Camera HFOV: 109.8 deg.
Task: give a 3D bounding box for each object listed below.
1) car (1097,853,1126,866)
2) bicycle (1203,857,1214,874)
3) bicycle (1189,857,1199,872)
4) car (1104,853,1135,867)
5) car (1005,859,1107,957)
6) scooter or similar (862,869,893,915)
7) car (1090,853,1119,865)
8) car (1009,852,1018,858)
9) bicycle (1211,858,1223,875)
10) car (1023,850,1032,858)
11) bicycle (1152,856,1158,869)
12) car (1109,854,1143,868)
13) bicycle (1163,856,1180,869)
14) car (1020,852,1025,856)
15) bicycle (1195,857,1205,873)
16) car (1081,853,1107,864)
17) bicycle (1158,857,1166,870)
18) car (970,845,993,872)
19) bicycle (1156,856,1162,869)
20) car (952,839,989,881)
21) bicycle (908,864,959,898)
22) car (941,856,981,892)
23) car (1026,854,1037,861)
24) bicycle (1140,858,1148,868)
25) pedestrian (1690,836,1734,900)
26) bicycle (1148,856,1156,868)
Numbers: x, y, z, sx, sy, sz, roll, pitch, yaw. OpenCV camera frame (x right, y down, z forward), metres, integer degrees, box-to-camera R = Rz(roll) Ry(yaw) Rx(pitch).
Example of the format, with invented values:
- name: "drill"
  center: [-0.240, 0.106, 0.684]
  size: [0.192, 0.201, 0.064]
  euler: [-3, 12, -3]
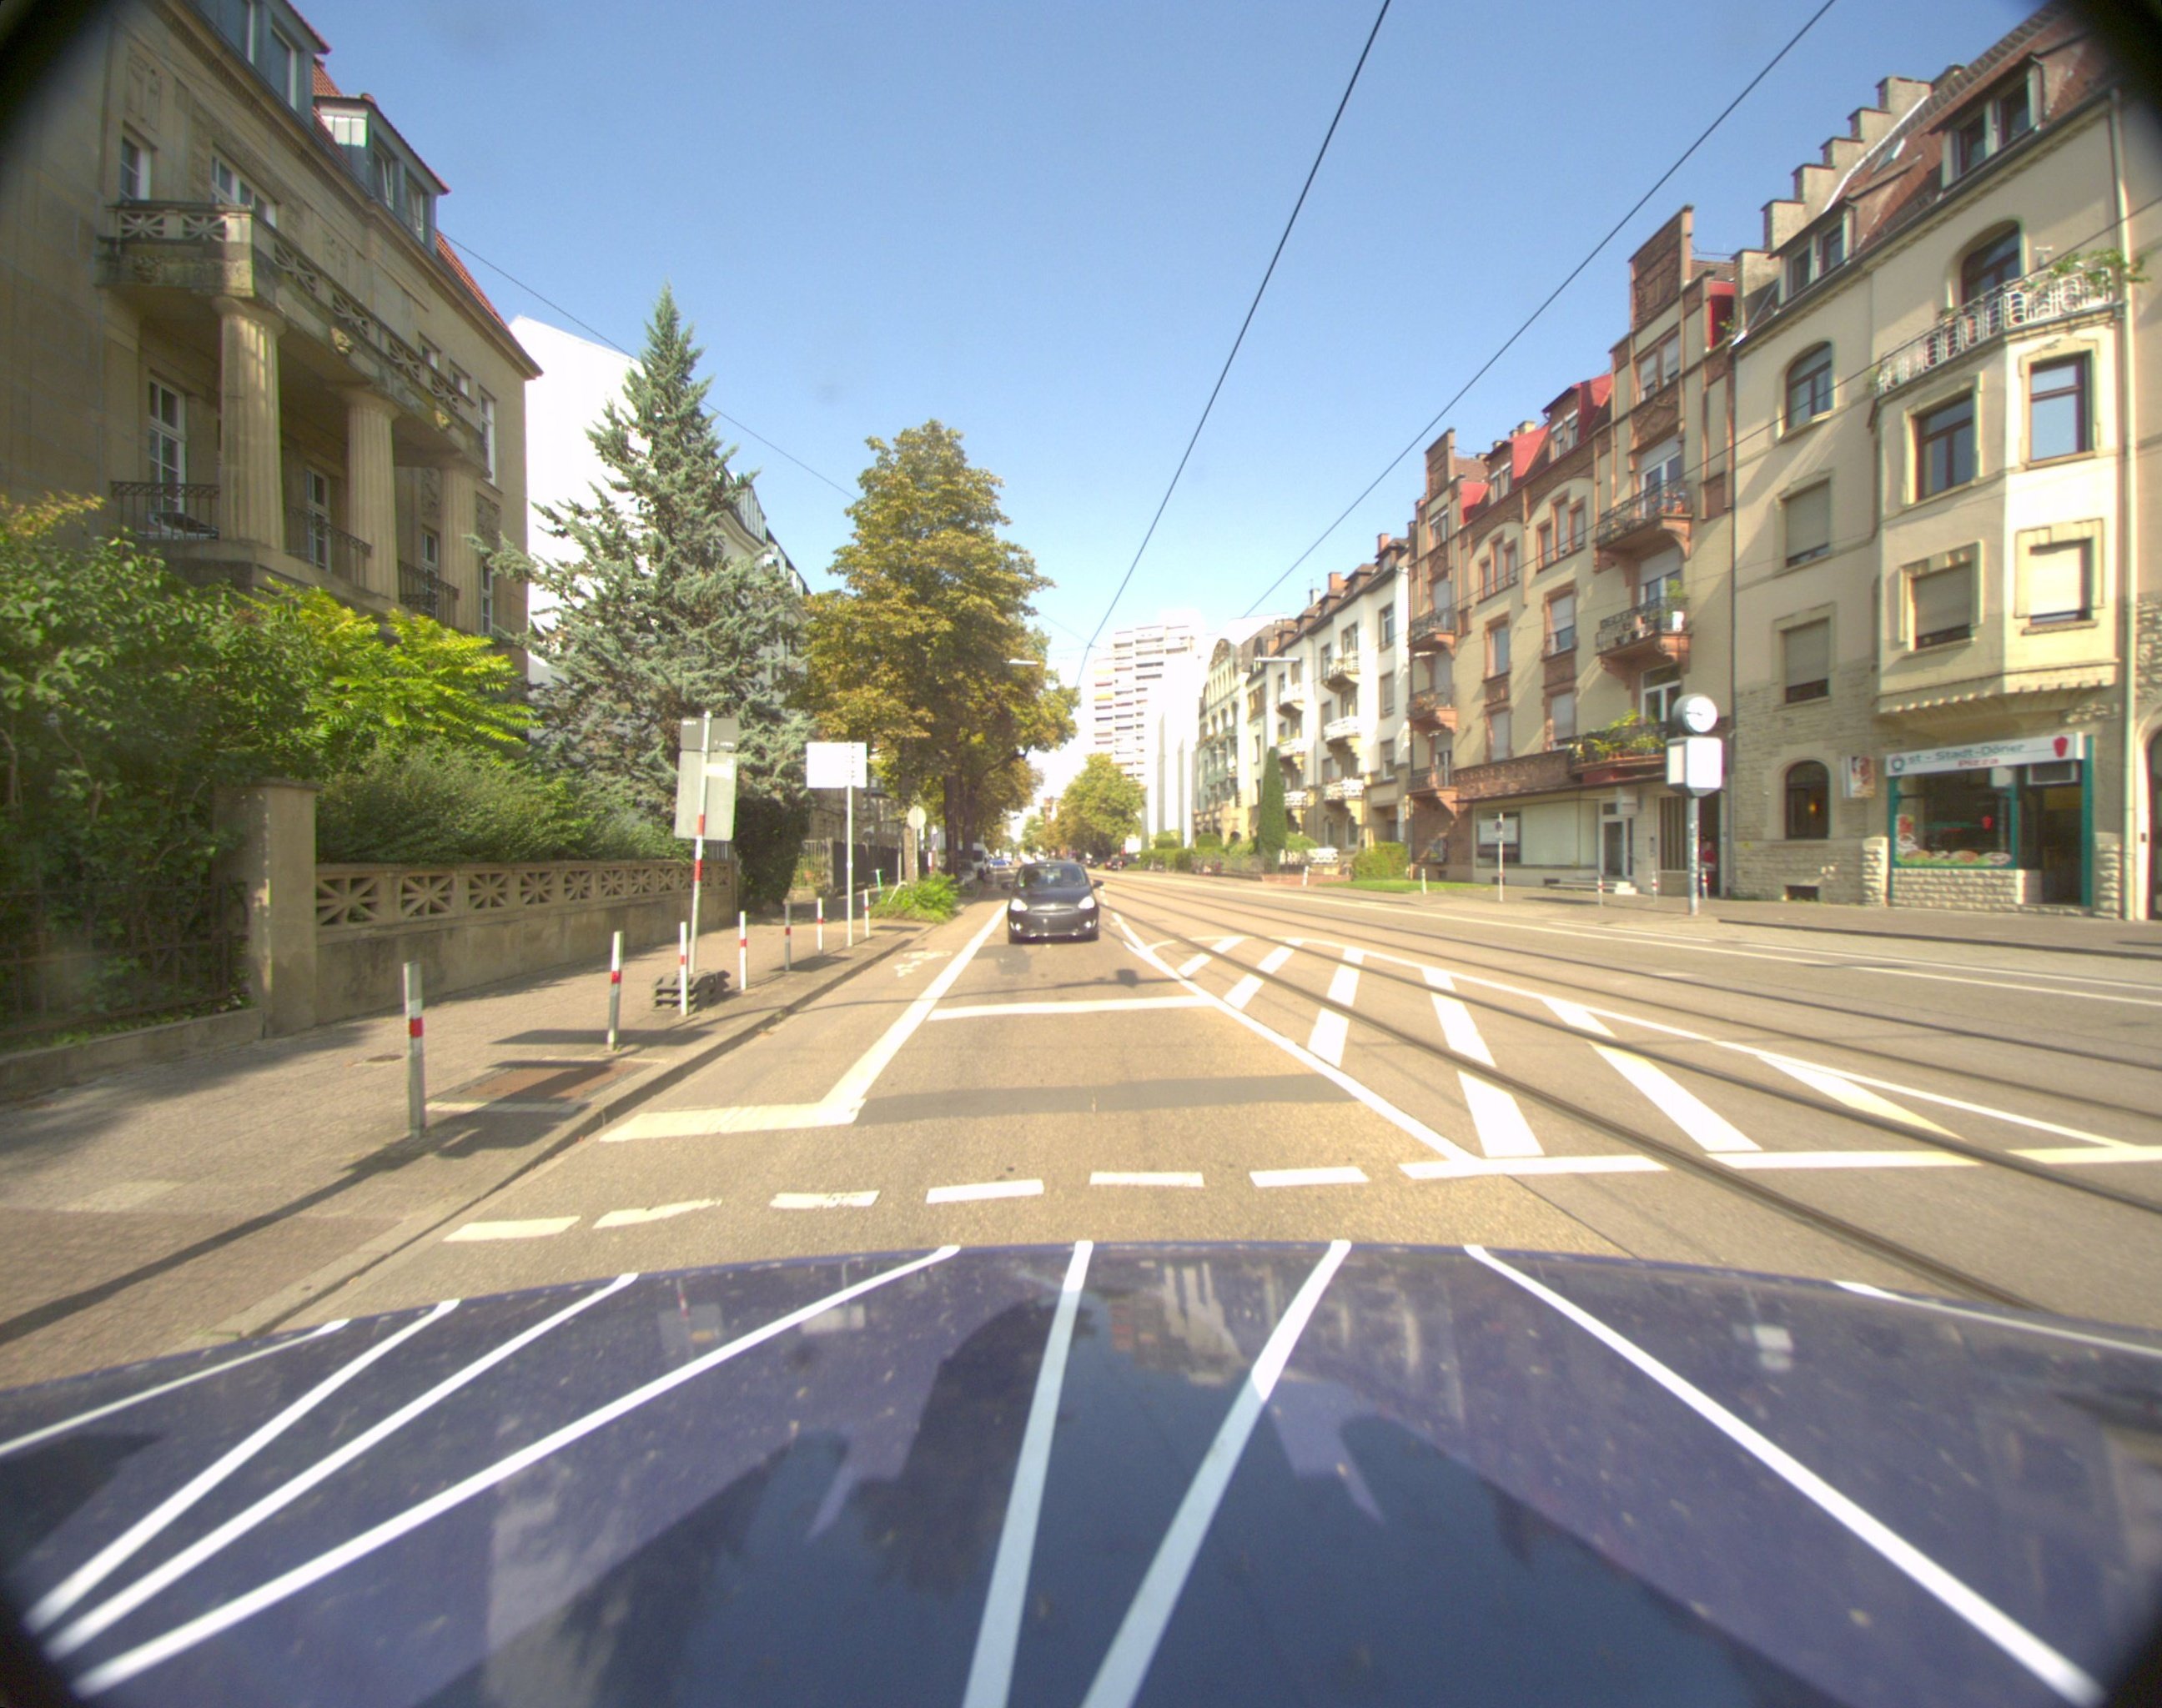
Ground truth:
- name: "car"
  center: [3.939, 0.667, 96.181]
  size: [1.767, 1.518, 4.008]
  euler: [0, 0, 35]
- name: "bicycle"
  center: [8.497, 0.770, 50.768]
  size: [0.371, 1.081, 1.354]
  euler: [0, 0, -7]
- name: "bicycle"
  center: [8.240, 0.764, 55.292]
  size: [0.371, 1.081, 1.354]
  euler: [0, 0, -7]
- name: "car"
  center: [4.532, 0.676, 88.741]
  size: [1.767, 1.518, 4.008]
  euler: [0, 0, 35]
- name: "car"
  center: [-0.618, 0.911, 14.752]
  size: [1.611, 1.515, 4.354]
  euler: [-2, 1, -6]
- name: "scooter or similar"
  center: [-5.649, 1.040, 21.124]
  size: [0.559, 1.190, 1.034]
  euler: [3, 1, -1]
- name: "car"
  center: [3.072, 0.641, 98.957]
  size: [1.767, 1.518, 4.008]
  euler: [0, 0, 35]
- name: "car"
  center: [-17.790, 0.329, 200.033]
  size: [2.000, 1.572, 4.155]
  euler: [0, 0, -9]
- name: "bicycle"
  center: [8.771, 0.779, 49.013]
  size: [0.371, 1.081, 1.487]
  euler: [0, 0, -7]
- name: "car"
  center: [-14.301, 0.034, 203.732]
  size: [2.000, 2.002, 4.855]
  euler: [0, 0, -9]
- name: "bicycle"
  center: [6.647, 0.752, 68.110]
  size: [0.425, 1.081, 1.677]
  euler: [0, 0, 3]
- name: "car"
  center: [4.881, 0.726, 82.114]
  size: [1.767, 1.518, 4.008]
  euler: [0, 0, 35]
- name: "bicycle"
  center: [7.676, 0.748, 64.287]
  size: [1.398, 1.081, 0.425]
  euler: [0, 1, -24]
- name: "car"
  center: [-19.945, 0.071, 259.272]
  size: [1.702, 1.395, 4.643]
  euler: [-2, 1, -7]
- name: "bicycle"
  center: [8.376, 0.758, 53.527]
  size: [0.371, 1.081, 1.354]
  euler: [0, 0, -7]
- name: "car"
  center: [1.903, 0.593, 107.728]
  size: [1.767, 1.518, 4.008]
  euler: [0, 0, 35]
- name: "bicycle"
  center: [6.954, 0.783, 65.222]
  size: [0.425, 1.081, 1.676]
  euler: [0, 0, -2]
- name: "car"
  center: [-9.735, 0.390, 74.556]
  size: [1.999, 2.526, 5.864]
  euler: [1, 0, -5]
- name: "bicycle"
  center: [6.883, 0.763, 67.321]
  size: [0.425, 1.081, 1.677]
  euler: [0, 0, 3]
- name: "car"
  center: [-6.844, 0.369, 47.746]
  size: [2.052, 2.484, 6.225]
  euler: [0, 0, -6]
- name: "bicycle"
  center: [-5.498, 1.009, 28.369]
  size: [0.503, 1.160, 1.846]
  euler: [8, 4, 44]
- name: "car"
  center: [-5.640, 0.918, 36.081]
  size: [1.612, 1.515, 4.354]
  euler: [3, 0, -6]
- name: "car"
  center: [-11.222, 0.758, 171.525]
  size: [1.878, 1.446, 4.541]
  euler: [2, 0, -9]
- name: "bicycle"
  center: [6.090, 0.833, 73.422]
  size: [0.426, 0.972, 1.769]
  euler: [0, 0, -7]
- name: "pedestrian"
  center: [18.692, 0.390, 22.508]
  size: [0.832, 1.849, 0.774]
  euler: [-1, 1, -32]
- name: "bicycle"
  center: [6.558, 0.743, 70.121]
  size: [0.425, 1.081, 1.676]
  euler: [0, 0, -4]
